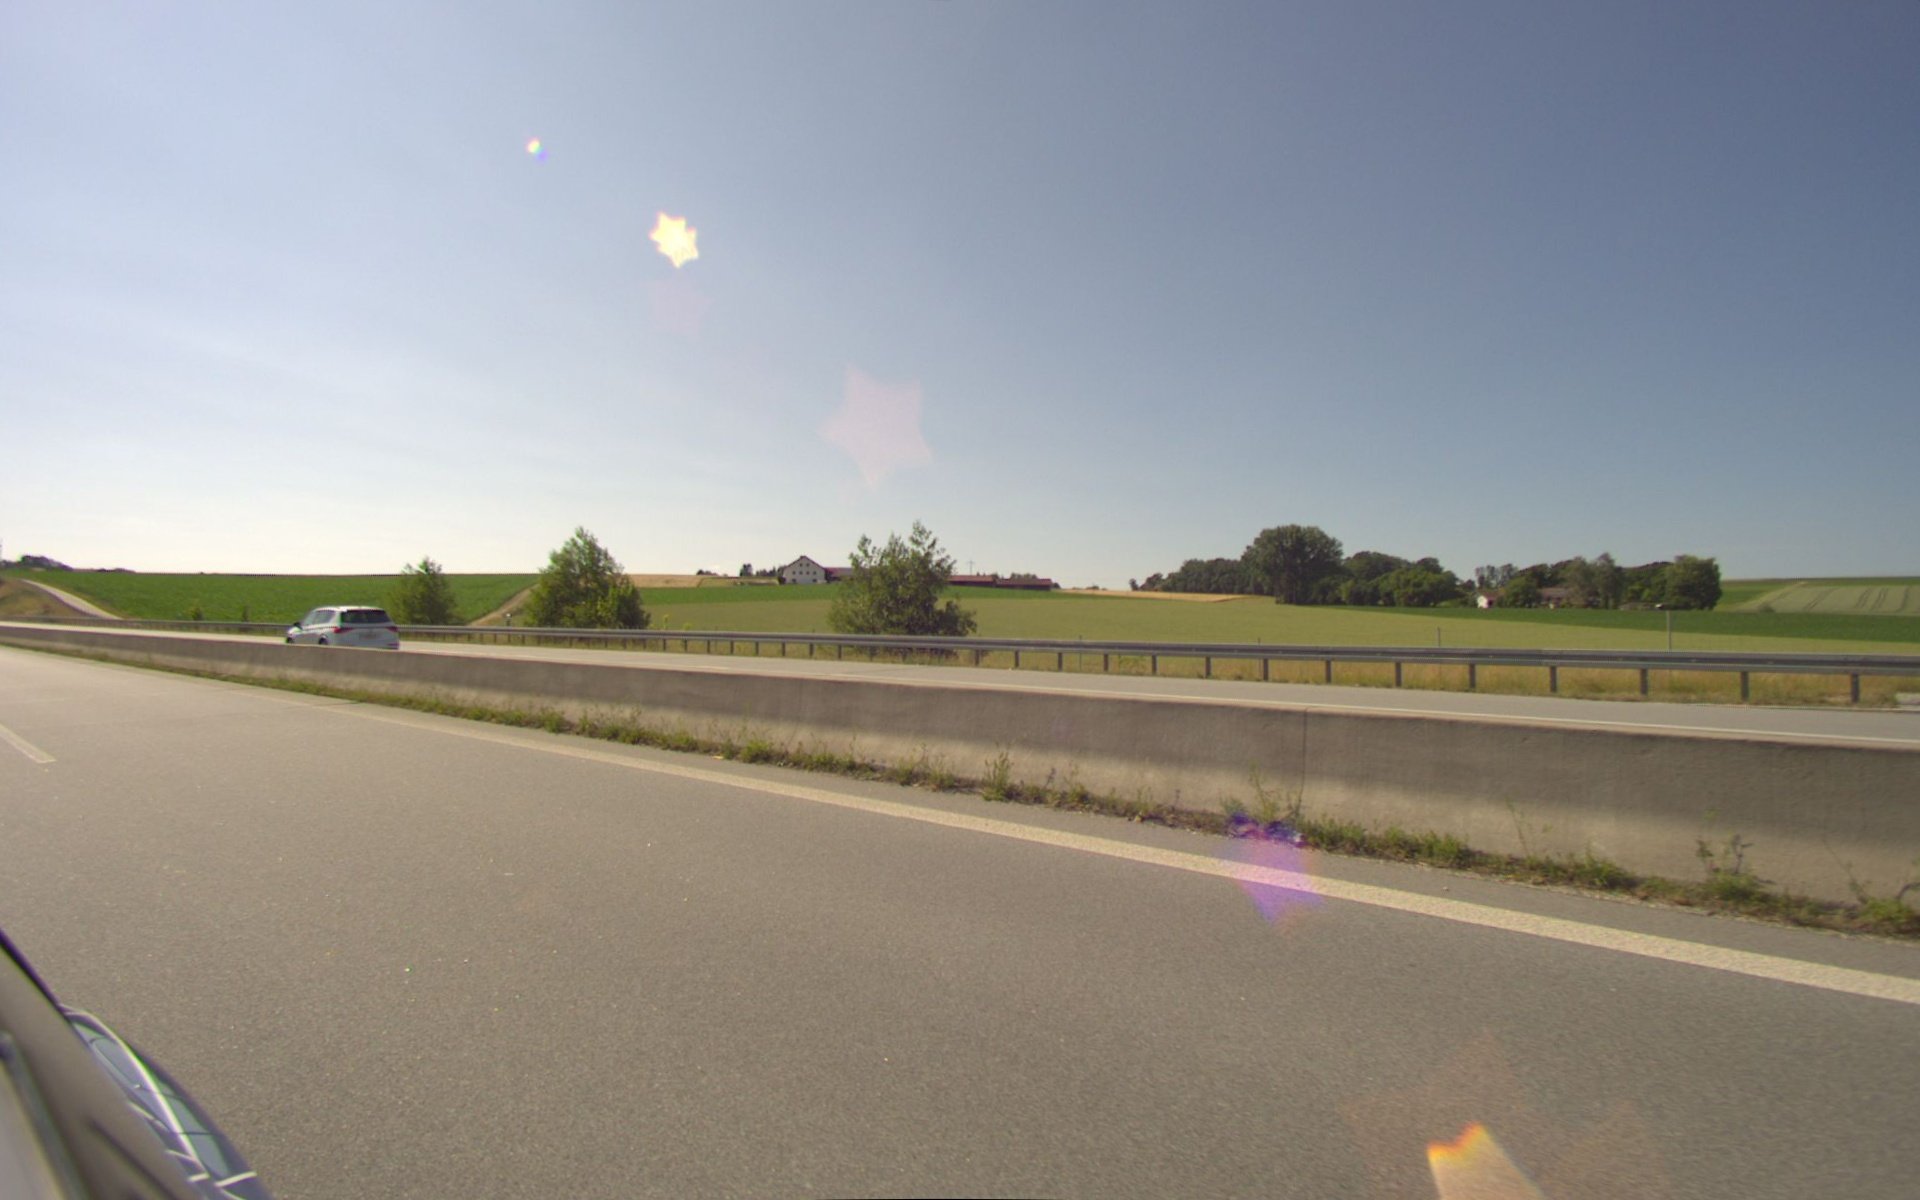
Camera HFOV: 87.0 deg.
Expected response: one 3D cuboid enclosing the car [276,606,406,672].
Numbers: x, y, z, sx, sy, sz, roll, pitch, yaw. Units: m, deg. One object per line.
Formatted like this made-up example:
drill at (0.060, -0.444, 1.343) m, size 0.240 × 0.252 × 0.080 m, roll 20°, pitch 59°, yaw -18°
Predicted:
car at (-17.892, 1.071, 29.186) m, size 4.394 × 1.738 × 1.847 m, roll -1°, pitch 0°, yaw 39°
